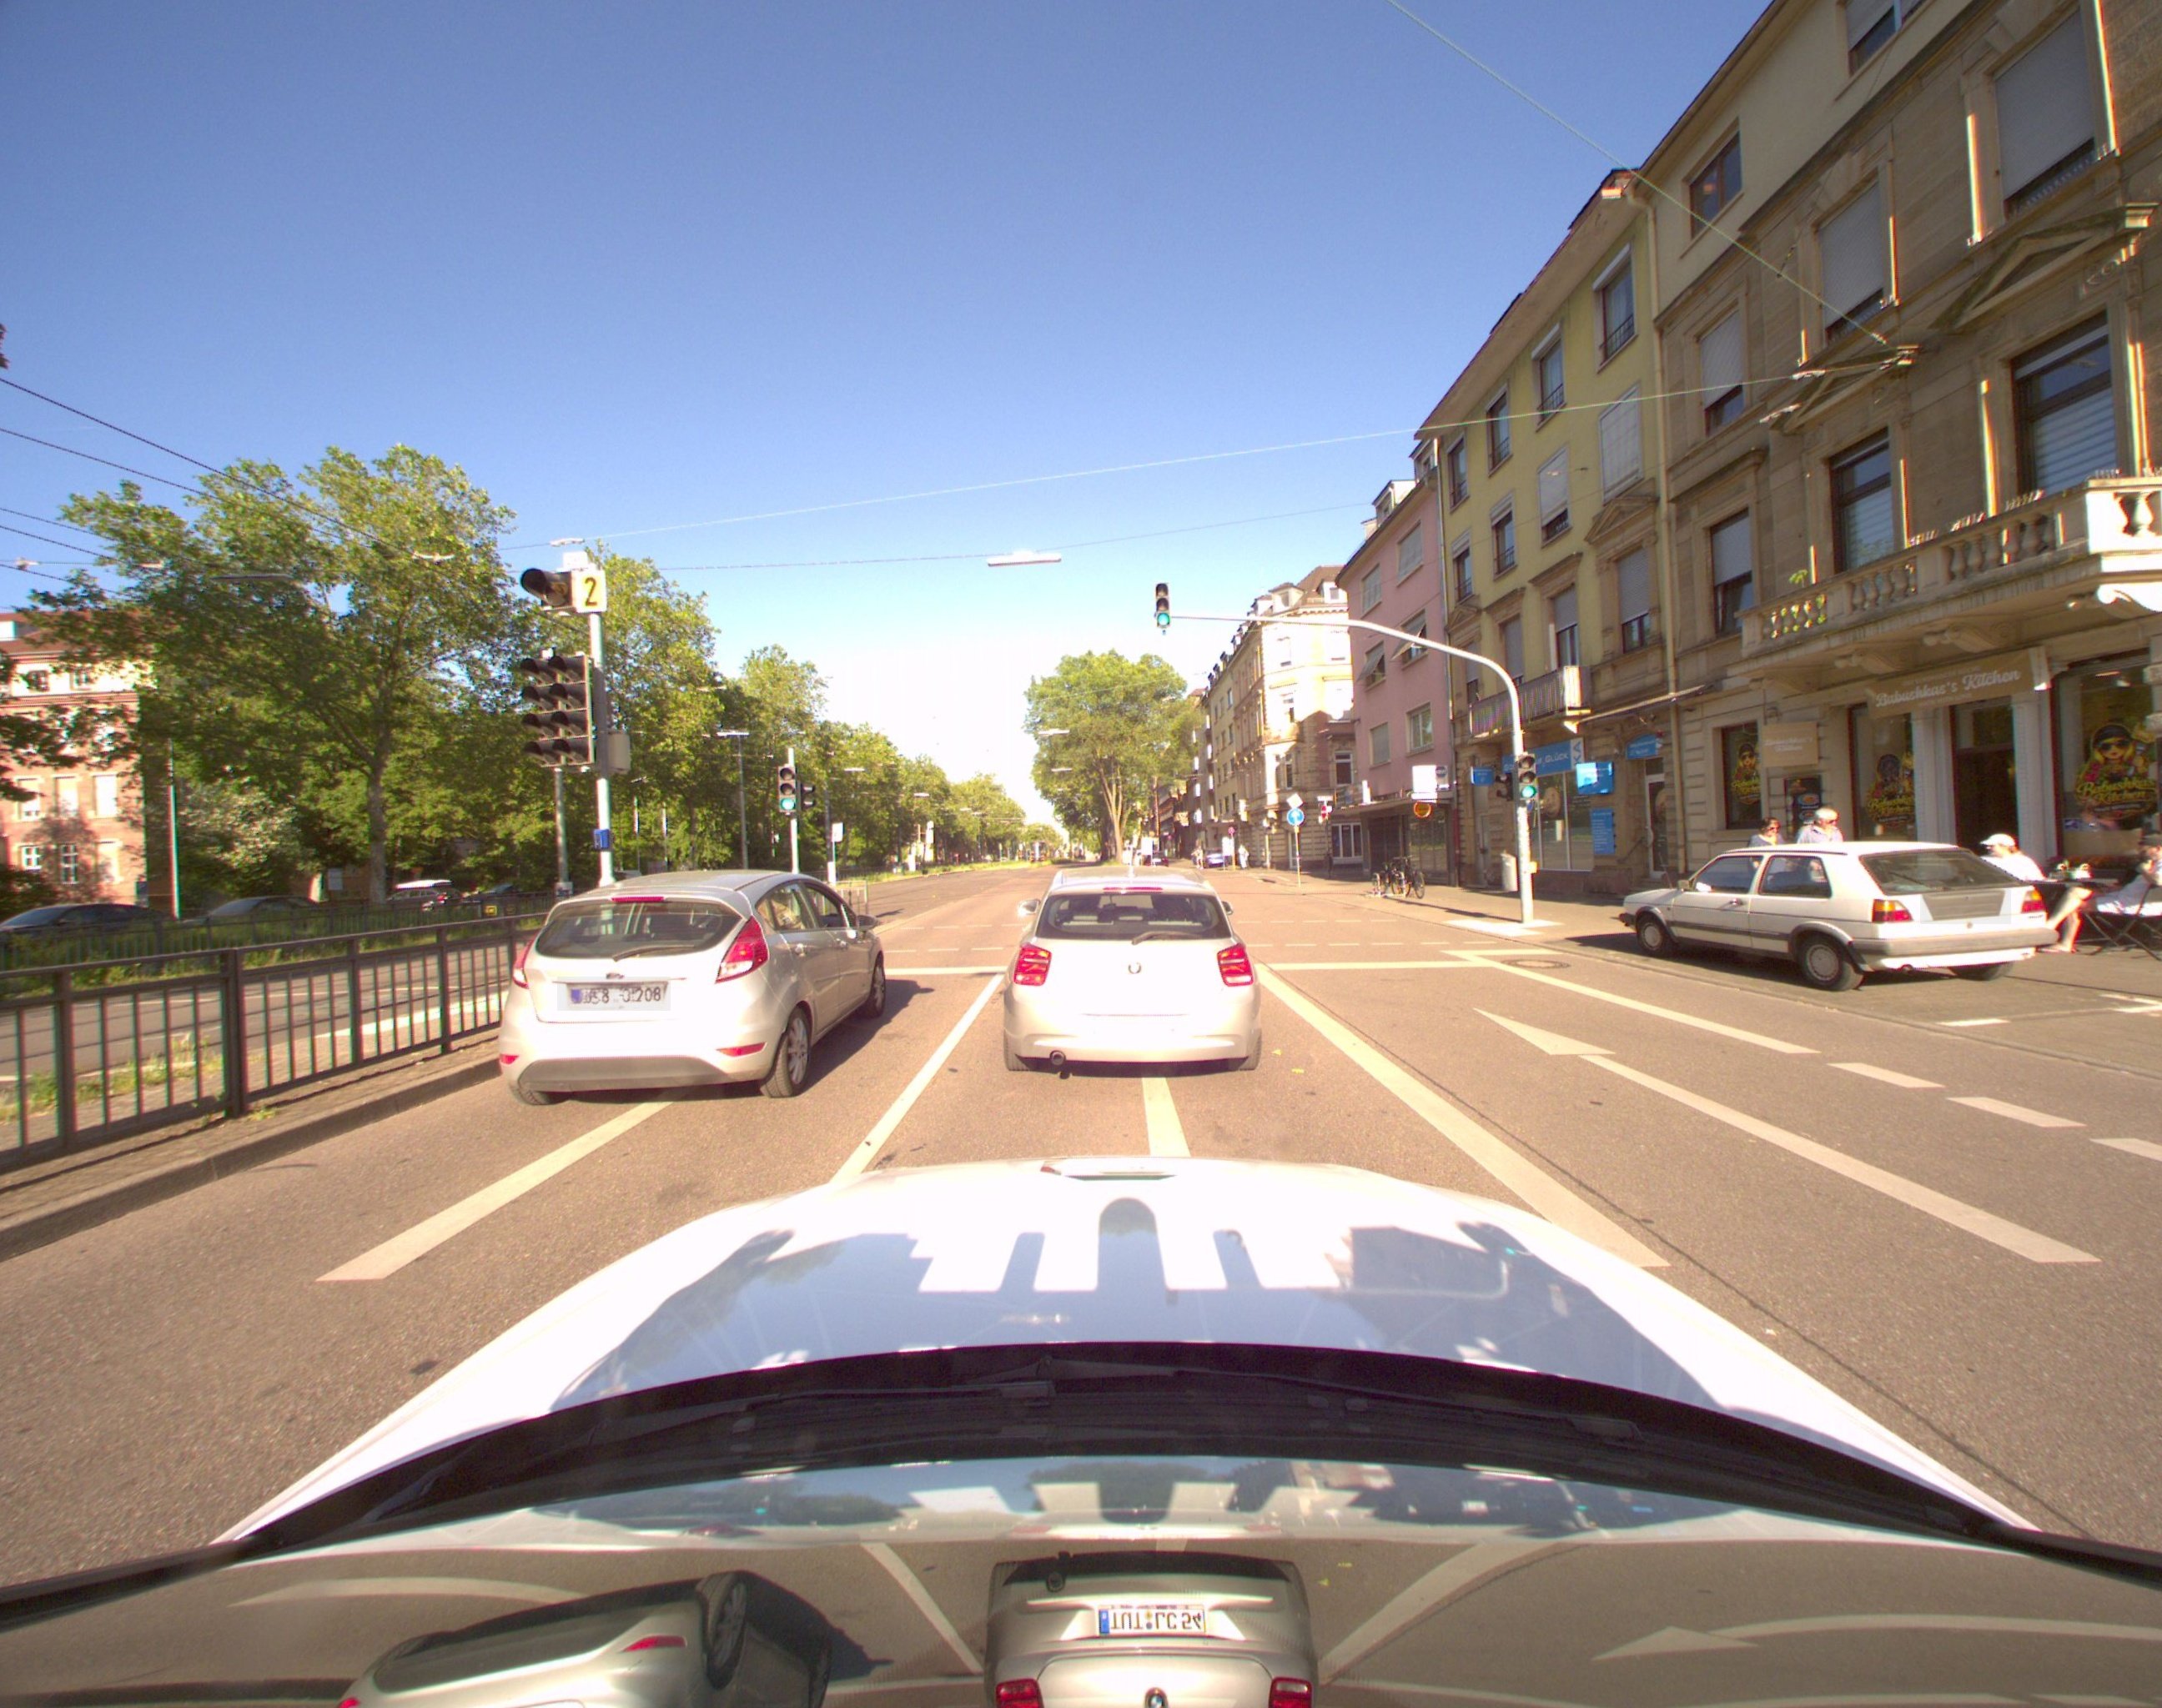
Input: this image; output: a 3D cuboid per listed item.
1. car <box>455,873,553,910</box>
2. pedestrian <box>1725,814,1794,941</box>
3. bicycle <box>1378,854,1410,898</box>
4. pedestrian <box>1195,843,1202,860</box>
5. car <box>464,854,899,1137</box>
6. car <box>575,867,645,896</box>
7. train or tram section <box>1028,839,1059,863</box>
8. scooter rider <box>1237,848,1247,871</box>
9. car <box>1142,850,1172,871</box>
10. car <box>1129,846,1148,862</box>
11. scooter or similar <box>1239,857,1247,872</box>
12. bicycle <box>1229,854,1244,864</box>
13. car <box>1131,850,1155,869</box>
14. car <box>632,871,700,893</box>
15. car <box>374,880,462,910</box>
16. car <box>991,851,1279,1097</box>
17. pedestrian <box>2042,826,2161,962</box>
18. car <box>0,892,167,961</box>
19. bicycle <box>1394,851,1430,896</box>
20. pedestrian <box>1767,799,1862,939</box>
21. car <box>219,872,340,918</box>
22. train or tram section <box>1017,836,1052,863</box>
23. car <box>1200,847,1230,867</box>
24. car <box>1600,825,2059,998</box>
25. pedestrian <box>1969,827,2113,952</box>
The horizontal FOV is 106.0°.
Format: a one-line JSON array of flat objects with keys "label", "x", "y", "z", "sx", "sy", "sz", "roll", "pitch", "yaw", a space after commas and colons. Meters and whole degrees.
[{"label": "car", "x": -27.668, "y": 1.762, "z": 39.232, "sx": 1.664, "sy": 1.509, "sz": 4.145, "roll": -2, "pitch": 0, "yaw": 0}, {"label": "pedestrian", "x": 9.350, "y": 0.321, "z": 11.231, "sx": 0.547, "sy": 1.708, "sz": 0.389, "roll": -2, "pitch": 0, "yaw": 4}, {"label": "bicycle", "x": 8.617, "y": 0.586, "z": 22.482, "sx": 0.411, "sy": 1.141, "sz": 1.813, "roll": -2, "pitch": 0, "yaw": 8}, {"label": "pedestrian", "x": 12.272, "y": -0.285, "z": 84.932, "sx": 0.503, "sy": 1.802, "sz": 0.806, "roll": -2, "pitch": 0, "yaw": 1}, {"label": "car", "x": -2.630, "y": 0.775, "z": 6.439, "sx": 1.605, "sy": 1.467, "sz": 3.886, "roll": -2, "pitch": 0, "yaw": -3}, {"label": "car", "x": -27.788, "y": 1.592, "z": 48.182, "sx": 1.664, "sy": 1.509, "sz": 4.145, "roll": -2, "pitch": 0, "yaw": 0}, {"label": "train or tram section", "x": -6.647, "y": -0.541, "z": 147.627, "sx": 3.990, "sy": 3.865, "sz": 17.496, "roll": -2, "pitch": 0, "yaw": 2}, {"label": "scooter rider", "x": 10.707, "y": 0.347, "z": 54.087, "sx": 0.463, "sy": 1.505, "sz": 0.812, "roll": -2, "pitch": 0, "yaw": 3}, {"label": "car", "x": 5.278, "y": 0.439, "z": 57.150, "sx": 1.730, "sy": 1.433, "sz": 3.677, "roll": -1, "pitch": 0, "yaw": -1}, {"label": "car", "x": 5.709, "y": -0.008, "z": 81.303, "sx": 1.719, "sy": 1.507, "sz": 3.555, "roll": -1, "pitch": 0, "yaw": 0}, {"label": "scooter or similar", "x": 10.732, "y": 0.679, "z": 54.083, "sx": 0.336, "sy": 0.988, "sz": 1.285, "roll": -2, "pitch": 0, "yaw": 4}, {"label": "bicycle", "x": 12.104, "y": 0.383, "z": 63.370, "sx": 0.752, "sy": 0.770, "sz": 1.945, "roll": -2, "pitch": 0, "yaw": 0}, {"label": "car", "x": 5.205, "y": 0.425, "z": 68.661, "sx": 1.719, "sy": 1.507, "sz": 3.555, "roll": -1, "pitch": 0, "yaw": 0}, {"label": "car", "x": -27.546, "y": 1.826, "z": 54.251, "sx": 1.929, "sy": 1.349, "sz": 4.849, "roll": -2, "pitch": -1, "yaw": 0}, {"label": "car", "x": -37.928, "y": 2.354, "z": 46.620, "sx": 3.968, "sy": 1.494, "sz": 1.395, "roll": -2, "pitch": 0, "yaw": 5}, {"label": "car", "x": 0.385, "y": 0.724, "z": 6.944, "sx": 1.733, "sy": 1.467, "sz": 4.002, "roll": -1, "pitch": 0, "yaw": 2}, {"label": "pedestrian", "x": 10.785, "y": 0.386, "z": 8.403, "sx": 0.899, "sy": 1.281, "sz": 0.655, "roll": -5, "pitch": 0, "yaw": -4}, {"label": "car", "x": -27.883, "y": 1.936, "z": 21.993, "sx": 1.664, "sy": 1.509, "sz": 4.145, "roll": -2, "pitch": 0, "yaw": 0}, {"label": "bicycle", "x": 9.112, "y": 0.507, "z": 22.466, "sx": 0.446, "sy": 1.159, "sz": 1.762, "roll": -2, "pitch": 0, "yaw": 8}, {"label": "pedestrian", "x": 9.984, "y": 0.197, "z": 11.099, "sx": 0.670, "sy": 1.806, "sz": 0.531, "roll": -5, "pitch": 0, "yaw": 1}, {"label": "car", "x": -40.432, "y": 2.038, "z": 41.233, "sx": 1.986, "sy": 2.013, "sz": 4.002, "roll": -2, "pitch": 0, "yaw": 2}, {"label": "train or tram section", "x": -7.262, "y": -0.683, "z": 130.102, "sx": 3.954, "sy": 3.865, "sz": 17.496, "roll": -2, "pitch": 0, "yaw": 2}, {"label": "car", "x": 10.373, "y": 0.208, "z": 63.185, "sx": 1.729, "sy": 1.519, "sz": 3.637, "roll": -1, "pitch": 0, "yaw": 1}, {"label": "car", "x": 8.023, "y": 0.504, "z": 9.343, "sx": 1.557, "sy": 1.415, "sz": 4.005, "roll": -6, "pitch": 0, "yaw": 2}, {"label": "pedestrian", "x": 10.667, "y": 0.384, "z": 9.070, "sx": 0.795, "sy": 1.281, "sz": 0.608, "roll": -4, "pitch": 0, "yaw": -1}]
